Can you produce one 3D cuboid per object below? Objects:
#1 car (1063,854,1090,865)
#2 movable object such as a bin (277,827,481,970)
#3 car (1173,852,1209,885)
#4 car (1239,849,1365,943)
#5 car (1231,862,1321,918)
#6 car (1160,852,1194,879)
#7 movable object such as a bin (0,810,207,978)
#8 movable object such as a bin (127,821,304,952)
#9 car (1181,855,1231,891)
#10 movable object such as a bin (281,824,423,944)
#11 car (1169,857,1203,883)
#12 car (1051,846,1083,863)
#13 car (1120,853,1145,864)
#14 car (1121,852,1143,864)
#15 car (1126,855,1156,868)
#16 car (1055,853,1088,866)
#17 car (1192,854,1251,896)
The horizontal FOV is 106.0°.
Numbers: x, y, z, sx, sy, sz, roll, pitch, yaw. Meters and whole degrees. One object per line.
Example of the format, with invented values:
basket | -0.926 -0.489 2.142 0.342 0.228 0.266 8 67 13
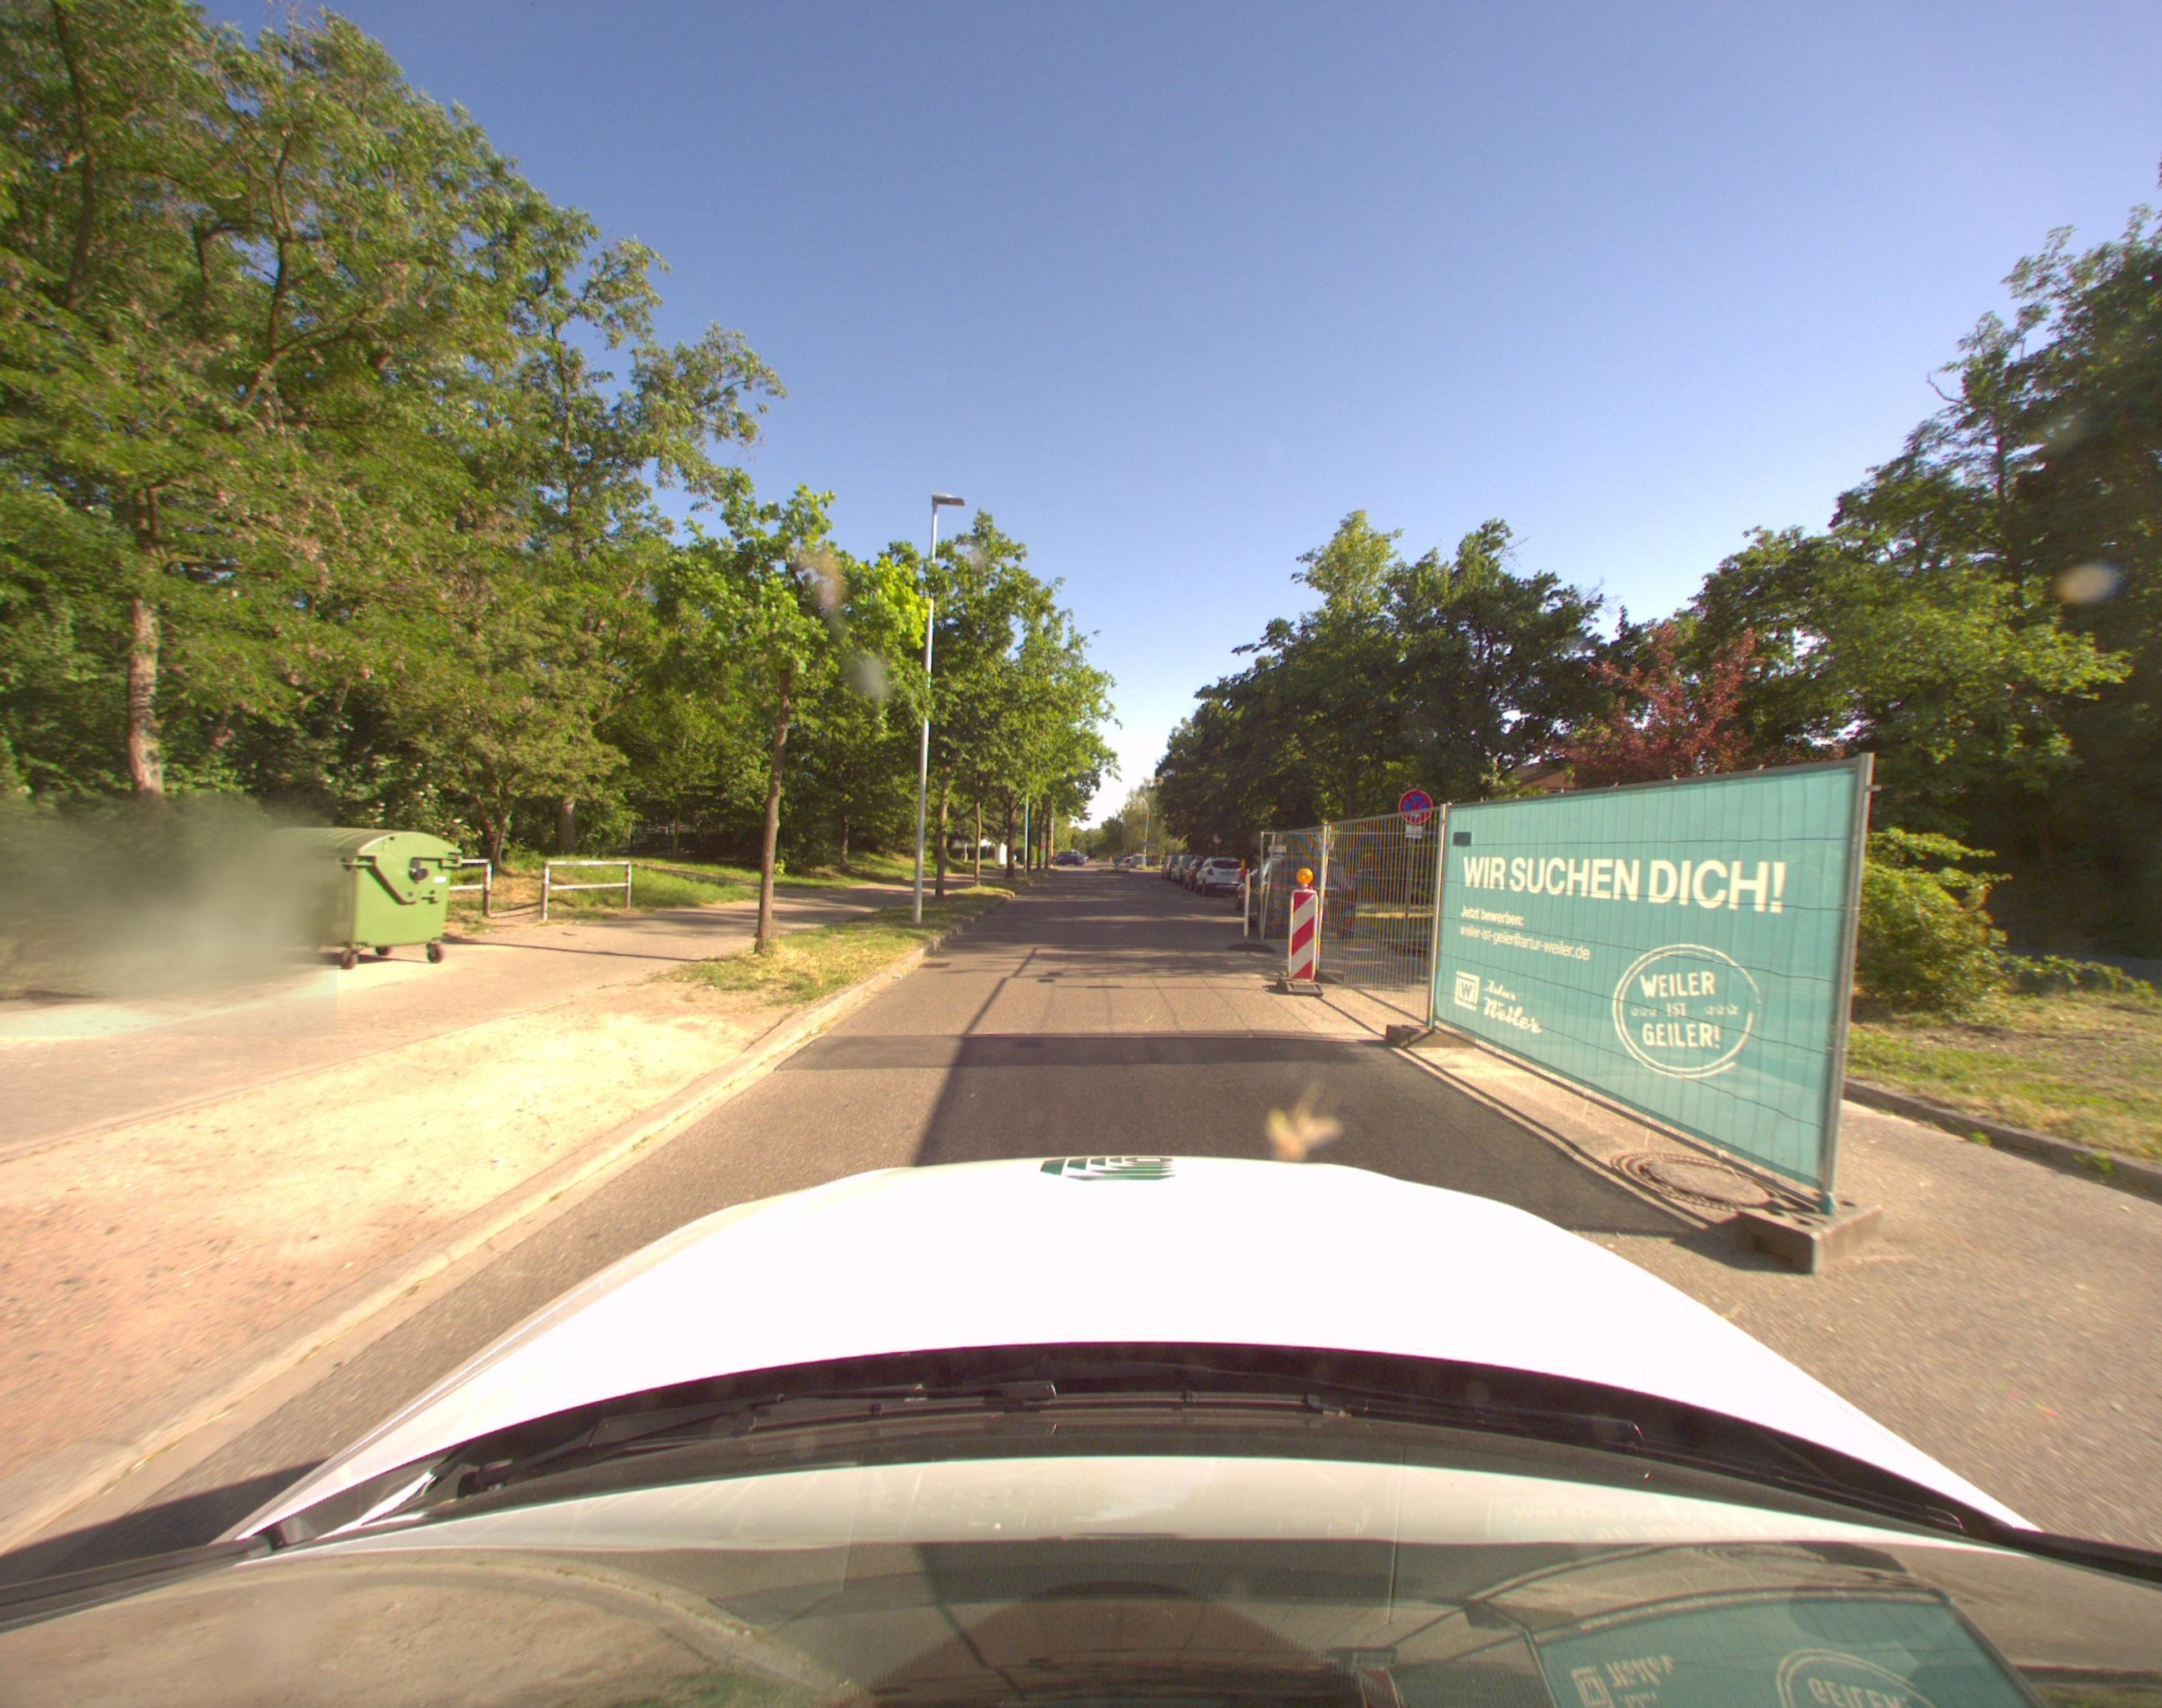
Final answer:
car | -0.714 0.916 129.974 4.090 1.576 1.960 3 0 3
movable object such as a bin | -7.685 0.449 8.972 1.259 1.435 1.187 1 0 17
car | 6.492 0.843 48.393 1.617 1.773 3.670 3 0 1
car | 4.560 0.793 17.460 1.801 1.651 4.427 3 0 5
car | 5.605 0.980 23.887 1.655 1.375 4.155 3 0 1
car | 6.978 0.795 59.627 1.786 1.785 4.553 3 0 -2
movable object such as a bin | -9.547 0.340 7.786 1.257 1.435 1.334 1 0 29
movable object such as a bin | -10.296 0.363 9.778 1.149 1.435 1.260 1 0 -32
car | 6.148 0.885 40.488 1.770 1.621 4.064 3 0 0
movable object such as a bin | -9.396 0.363 10.576 1.149 1.435 1.260 1 0 -32
car | 6.848 1.011 53.479 1.685 1.512 4.207 3 0 1
car | -2.418 0.009 138.951 5.189 2.621 2.290 3 0 -4
car | 8.540 0.785 134.467 3.817 1.576 1.692 3 0 7
car | 9.030 0.700 143.796 3.820 1.796 1.691 3 0 5
car | 8.048 0.975 109.029 3.817 1.576 1.692 3 0 7
car | -1.280 0.759 113.673 4.294 1.576 2.050 3 0 7
car | 5.972 0.860 35.074 1.770 1.621 4.064 3 0 0
